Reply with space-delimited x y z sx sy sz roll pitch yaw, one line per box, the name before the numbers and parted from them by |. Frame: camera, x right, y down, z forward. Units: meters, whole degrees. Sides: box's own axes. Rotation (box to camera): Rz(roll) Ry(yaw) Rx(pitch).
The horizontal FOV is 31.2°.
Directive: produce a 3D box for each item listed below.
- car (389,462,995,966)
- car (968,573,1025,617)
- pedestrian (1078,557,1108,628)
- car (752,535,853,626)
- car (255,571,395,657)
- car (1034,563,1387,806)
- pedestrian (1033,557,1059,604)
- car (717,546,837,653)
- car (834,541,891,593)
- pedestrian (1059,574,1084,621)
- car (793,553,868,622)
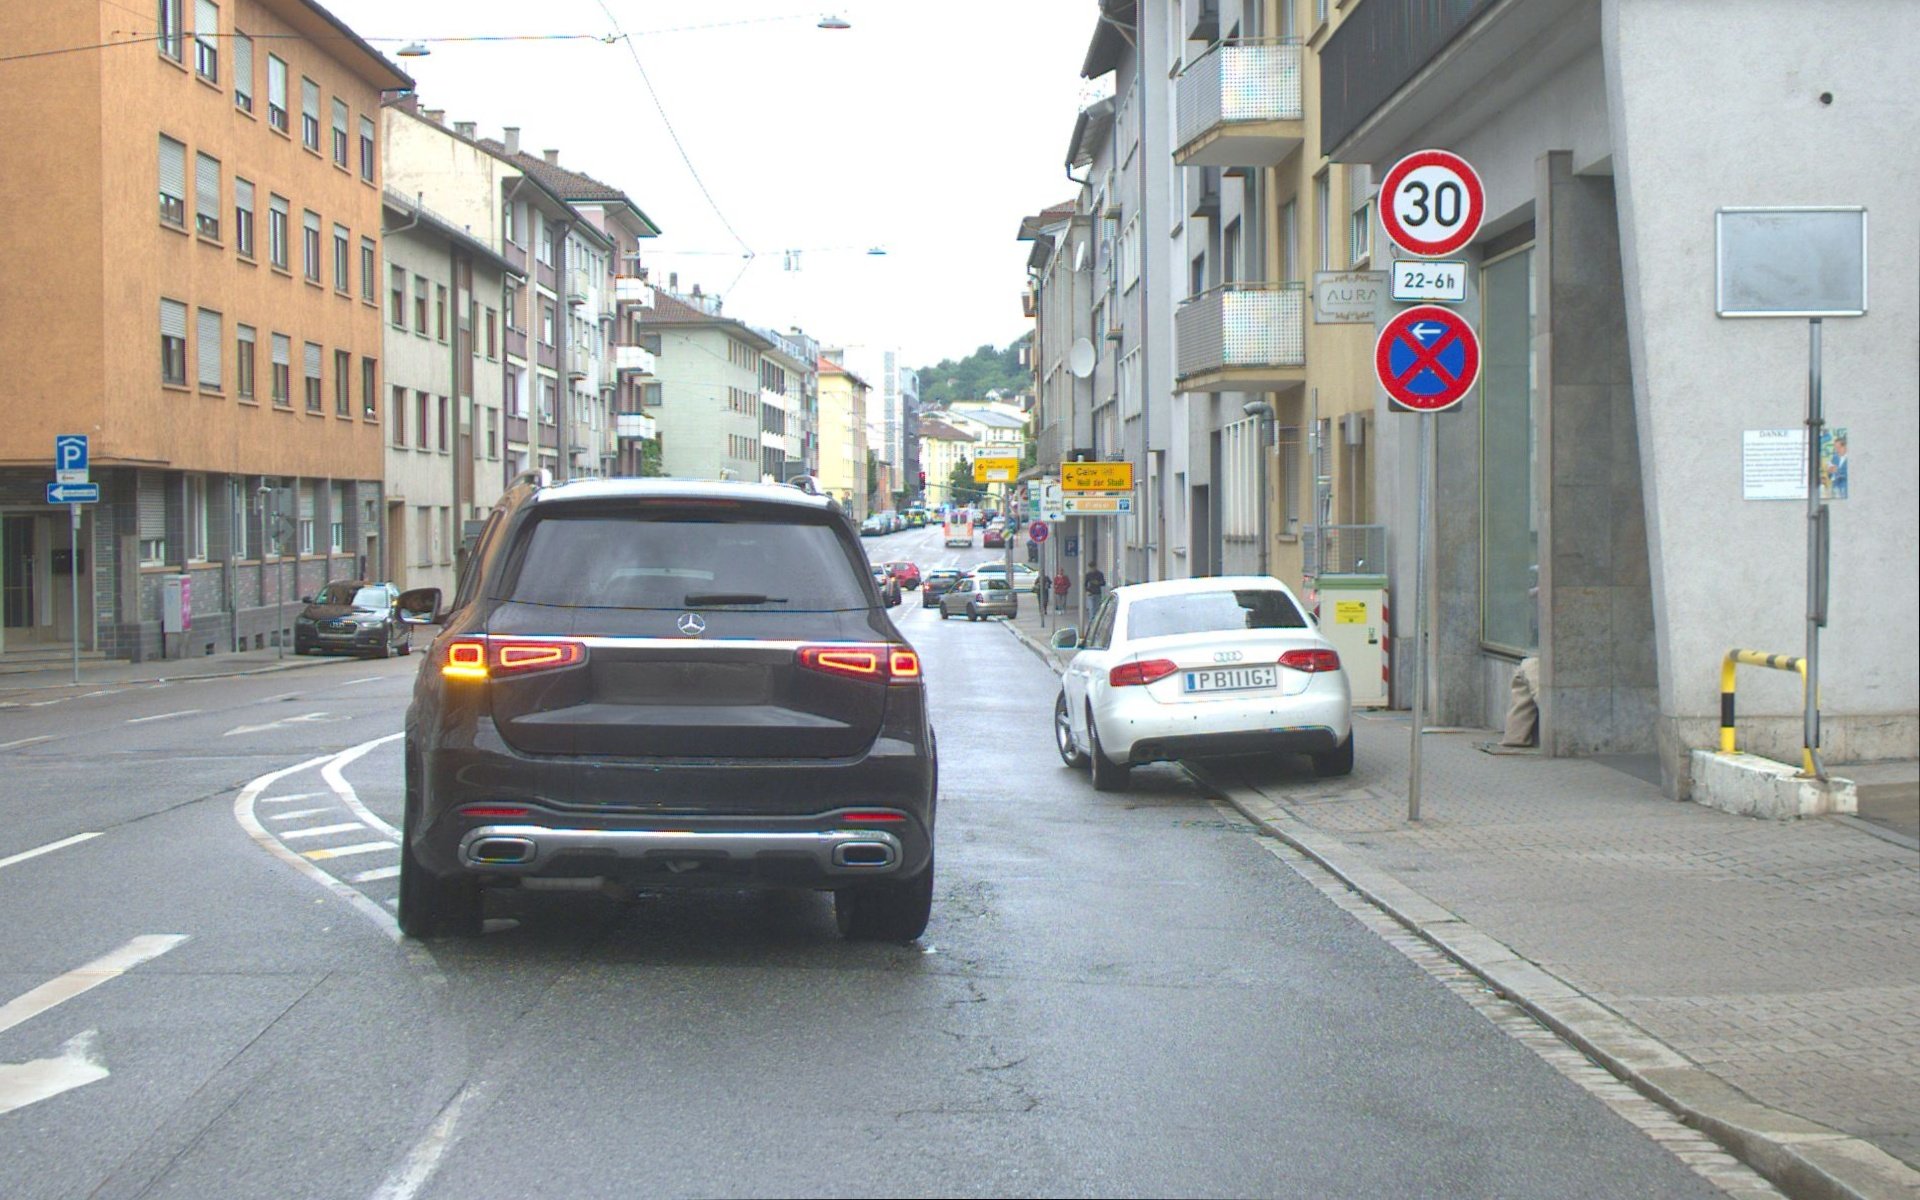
car | -1.311 0.362 14.443 2.075 1.759 4.612 1 1 -10
car | 1.213 -0.180 116.694 1.734 1.383 4.583 1 1 -1
pedestrian | 3.299 -0.192 85.385 0.655 1.746 0.741 -2 0 5
car | -3.633 -0.474 79.872 1.993 2.007 4.000 1 1 2
car | -11.731 0.232 63.789 1.891 1.453 4.550 1 1 -2
car | 1.694 0.526 24.859 1.893 1.398 4.609 -5 1 -3
pedestrian | 2.900 -0.649 116.272 0.821 1.560 0.899 1 1 3
car | -3.579 -0.046 67.930 1.993 2.007 4.000 1 1 2
car | -3.881 -1.341 137.940 1.993 2.007 4.000 1 1 2
pedestrian | 3.767 -0.094 116.230 0.821 1.560 0.899 1 1 3
car | -3.947 -0.410 105.323 1.993 2.007 4.000 1 1 2
